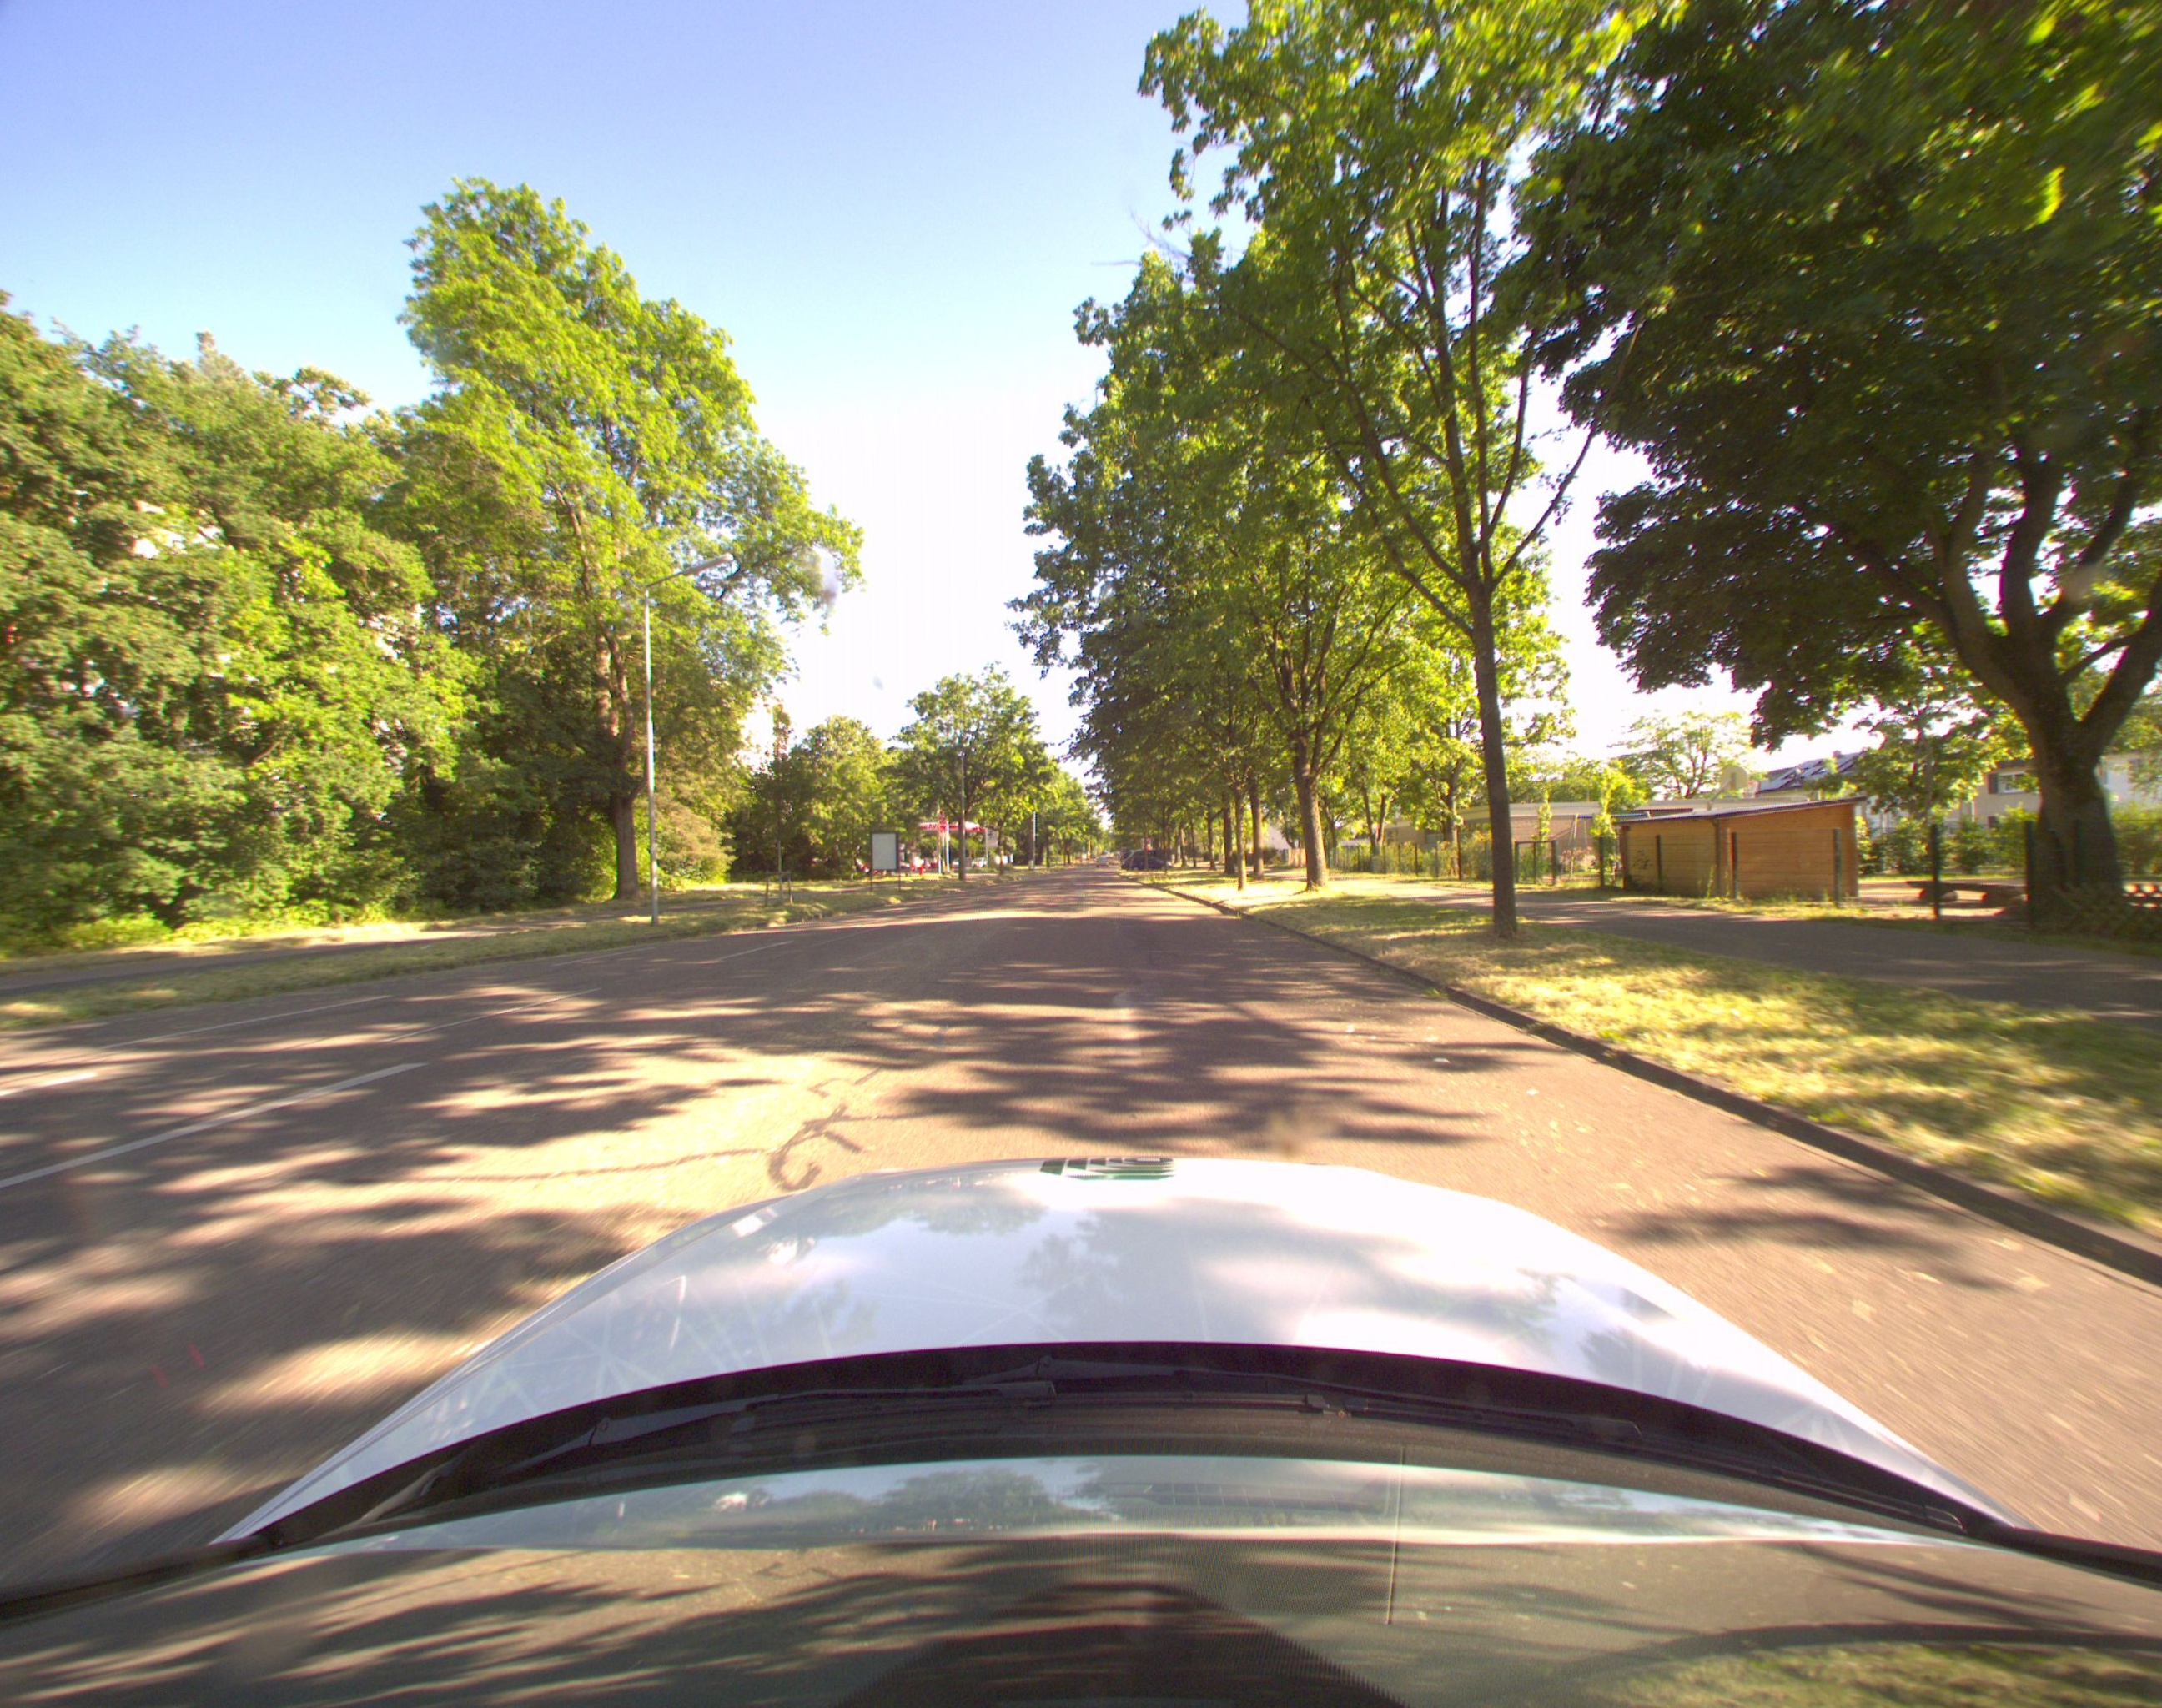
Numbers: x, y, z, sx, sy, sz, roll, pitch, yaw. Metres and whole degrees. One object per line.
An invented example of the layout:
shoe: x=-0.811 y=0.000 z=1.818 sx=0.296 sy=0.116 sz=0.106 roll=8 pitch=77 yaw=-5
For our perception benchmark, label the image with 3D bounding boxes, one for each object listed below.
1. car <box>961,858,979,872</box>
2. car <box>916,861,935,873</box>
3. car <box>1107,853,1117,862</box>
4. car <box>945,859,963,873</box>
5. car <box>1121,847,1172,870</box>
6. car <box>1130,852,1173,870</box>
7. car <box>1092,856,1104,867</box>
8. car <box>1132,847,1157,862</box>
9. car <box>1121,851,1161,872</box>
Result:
car: x=-15.104 y=1.538 z=110.801 sx=1.795 sy=1.823 sz=3.804 roll=-2 pitch=-2 yaw=0
car: x=-21.629 y=1.841 z=113.298 sx=1.795 sy=1.621 sz=3.805 roll=-2 pitch=-2 yaw=1
car: x=5.274 y=0.551 z=138.608 sx=1.655 sy=1.337 sz=3.665 roll=-2 pitch=-1 yaw=1
car: x=-17.269 y=1.616 z=110.715 sx=1.795 sy=1.823 sz=3.804 roll=-2 pitch=-2 yaw=0
car: x=5.992 y=0.432 z=75.003 sx=4.486 sy=1.953 sz=1.688 roll=-2 pitch=-2 yaw=1
car: x=6.235 y=0.637 z=72.012 sx=3.640 sy=1.398 sz=1.318 roll=-2 pitch=-2 yaw=1
car: x=2.446 y=1.076 z=115.528 sx=1.655 sy=1.337 sz=3.665 roll=-2 pitch=-1 yaw=1
car: x=9.636 y=0.102 z=123.673 sx=3.554 sy=2.051 sz=1.633 roll=-2 pitch=-2 yaw=1
car: x=5.671 y=0.712 z=77.495 sx=3.640 sy=1.797 sz=1.318 roll=-2 pitch=-2 yaw=1
